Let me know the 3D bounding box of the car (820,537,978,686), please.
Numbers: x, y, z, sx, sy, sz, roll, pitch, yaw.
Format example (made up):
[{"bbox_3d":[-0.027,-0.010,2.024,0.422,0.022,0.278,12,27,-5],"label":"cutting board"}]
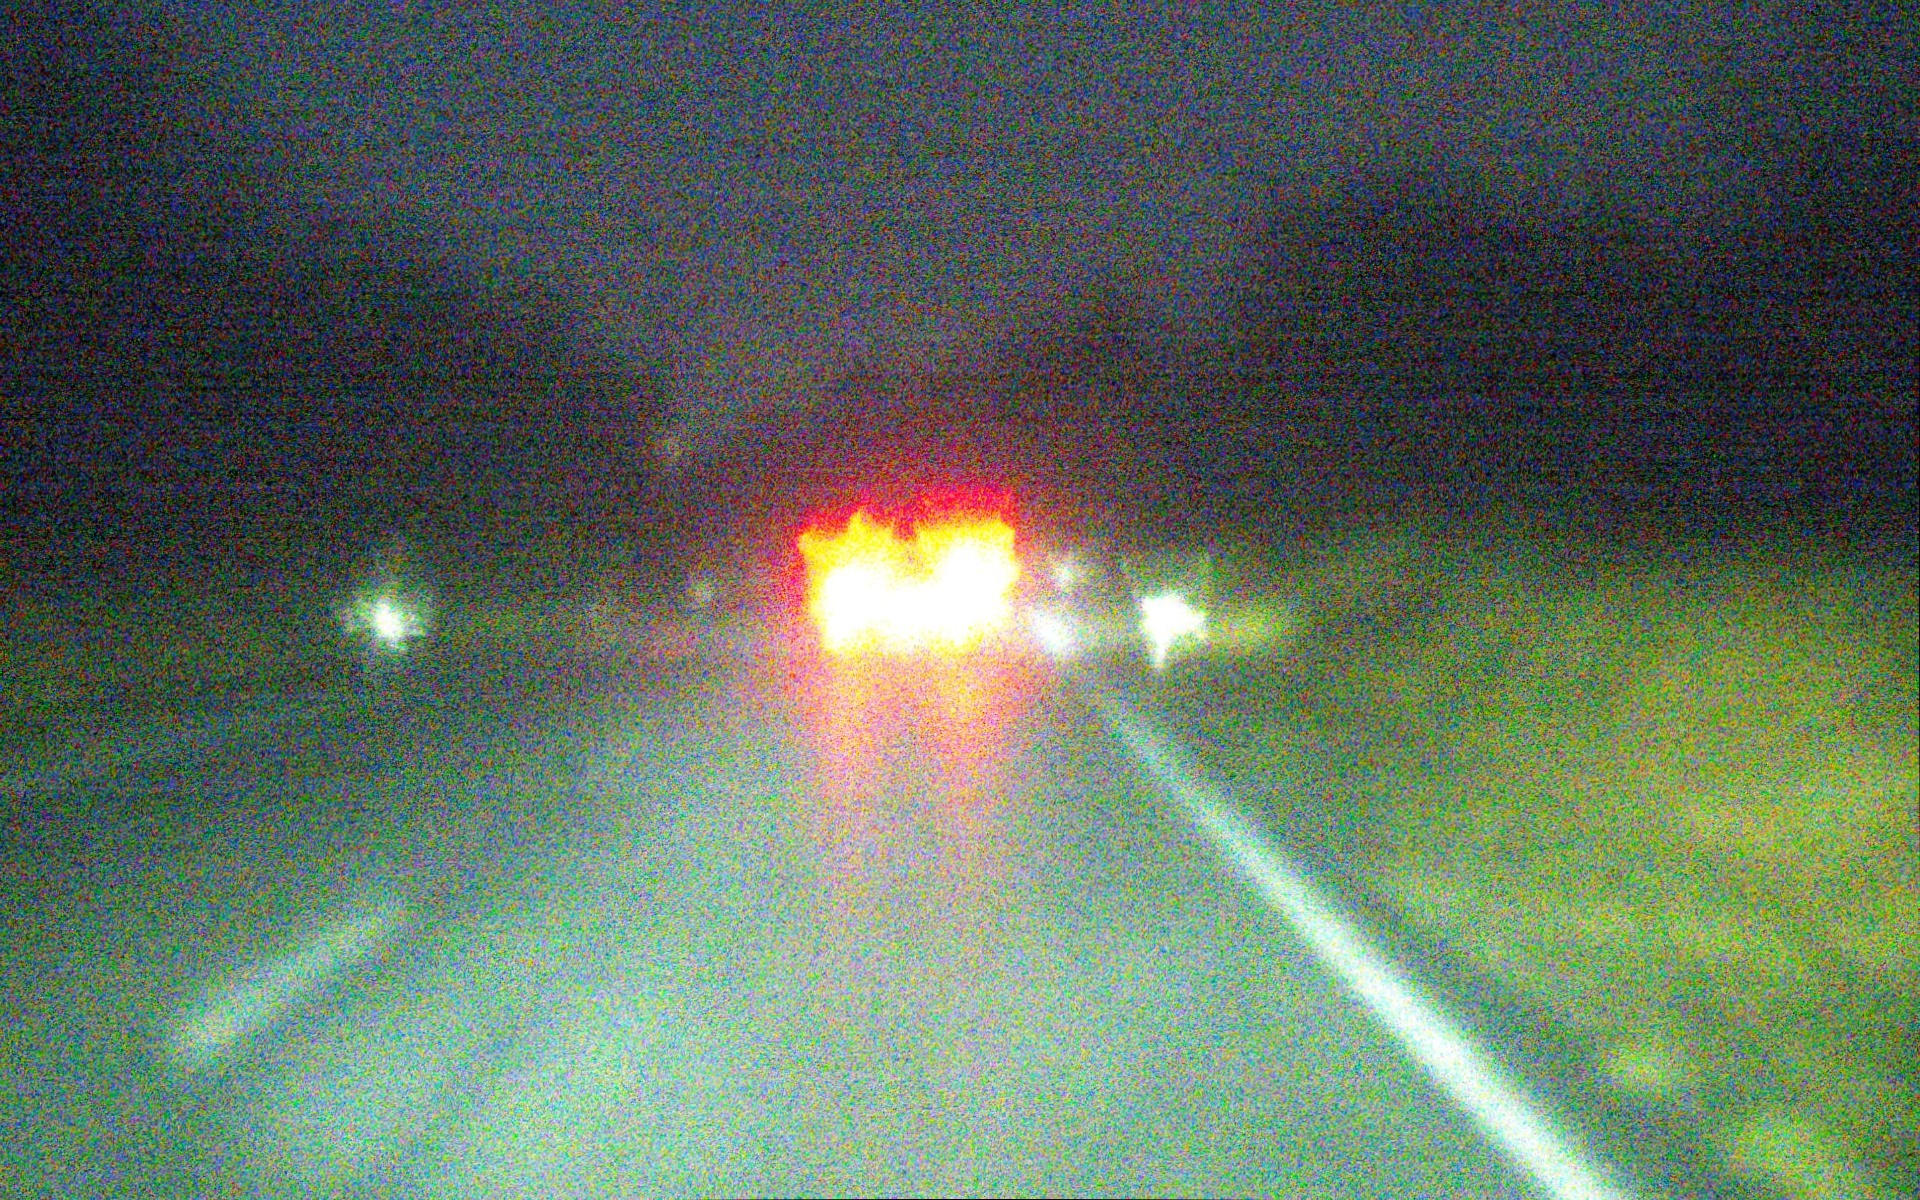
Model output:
[{"bbox_3d":[-0.715,0.095,42.251,1.842,1.734,4.000,0,1,0],"label":"car"}]
